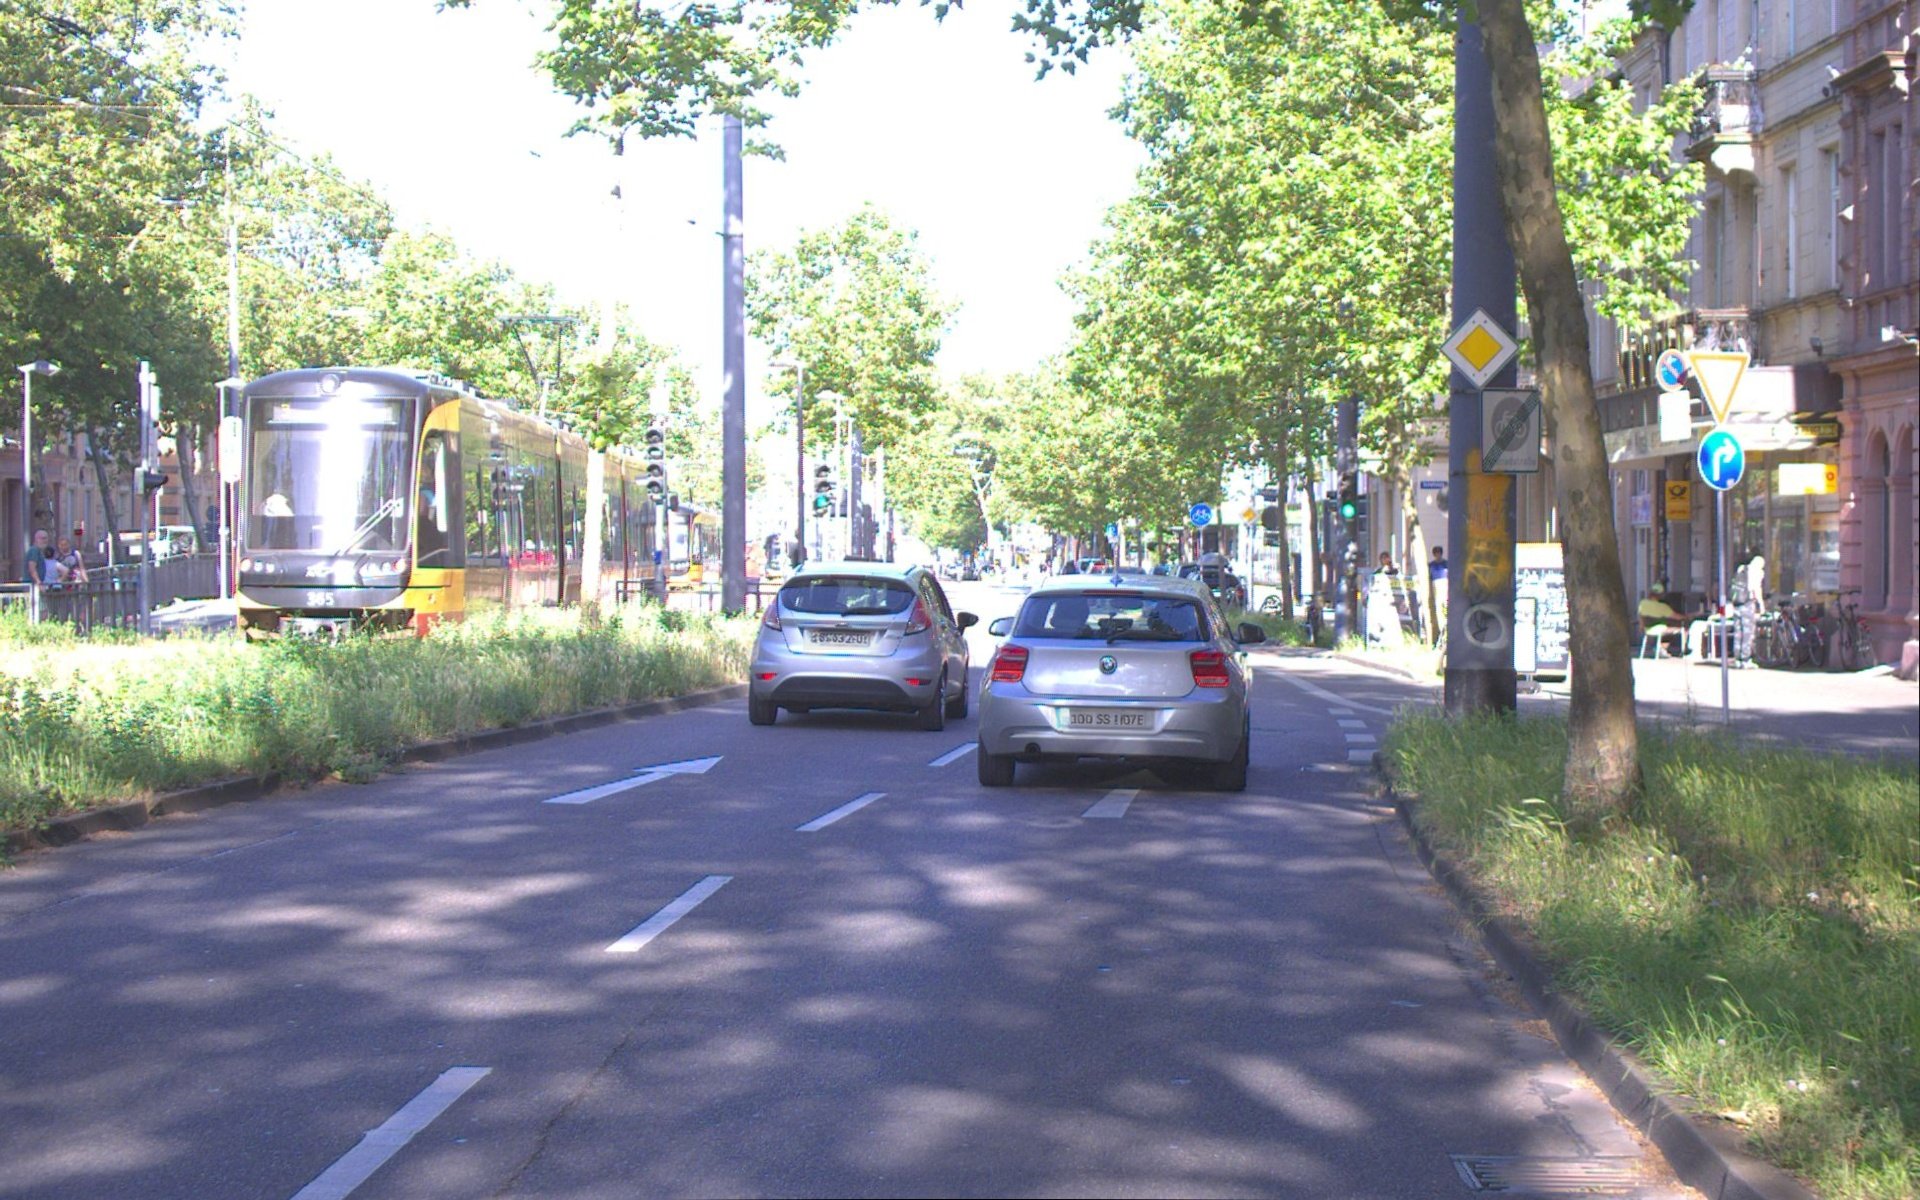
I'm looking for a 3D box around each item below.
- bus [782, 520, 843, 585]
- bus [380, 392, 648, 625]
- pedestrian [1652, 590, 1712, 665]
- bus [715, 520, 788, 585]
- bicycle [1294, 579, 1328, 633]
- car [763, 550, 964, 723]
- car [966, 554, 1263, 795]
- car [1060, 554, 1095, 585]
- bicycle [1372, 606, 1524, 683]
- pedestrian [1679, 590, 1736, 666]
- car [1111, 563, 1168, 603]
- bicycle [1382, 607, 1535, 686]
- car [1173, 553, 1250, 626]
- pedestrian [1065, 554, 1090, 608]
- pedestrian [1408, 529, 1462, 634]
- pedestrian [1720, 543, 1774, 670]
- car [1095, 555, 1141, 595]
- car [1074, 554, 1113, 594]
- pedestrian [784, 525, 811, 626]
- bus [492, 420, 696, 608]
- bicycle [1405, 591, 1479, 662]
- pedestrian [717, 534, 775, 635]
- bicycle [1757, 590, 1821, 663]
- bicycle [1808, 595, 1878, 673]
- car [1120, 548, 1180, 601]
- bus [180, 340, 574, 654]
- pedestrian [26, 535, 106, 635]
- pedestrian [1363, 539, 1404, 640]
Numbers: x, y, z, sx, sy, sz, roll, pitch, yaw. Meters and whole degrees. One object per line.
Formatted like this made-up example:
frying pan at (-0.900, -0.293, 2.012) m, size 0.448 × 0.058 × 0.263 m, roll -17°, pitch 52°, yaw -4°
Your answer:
bus at (-8.565, -2.833, 201.145) m, size 2.750 × 3.613 × 18.848 m, roll 1°, pitch 1°, yaw 0°
bus at (-7.173, -1.440, 57.129) m, size 2.869 × 3.432 × 12.215 m, roll 1°, pitch 1°, yaw 0°
pedestrian at (11.472, 0.437, 54.634) m, size 0.771 × 1.157 × 0.469 m, roll 2°, pitch 1°, yaw -25°
bus at (-12.220, -2.904, 203.831) m, size 2.869 × 3.616 × 24.604 m, roll 1°, pitch 1°, yaw 0°
bicycle at (6.668, 0.106, 65.347) m, size 0.428 × 0.967 × 1.750 m, roll 2°, pitch 1°, yaw 0°
car at (-0.812, 0.280, 30.835) m, size 1.646 × 1.358 × 3.760 m, roll 2°, pitch 1°, yaw 0°
car at (0.988, 0.450, 23.937) m, size 1.762 × 1.427 × 4.000 m, roll 2°, pitch 1°, yaw -1°
car at (6.371, -1.652, 186.477) m, size 1.700 × 1.529 × 3.717 m, roll 2°, pitch 1°, yaw 0°
bicycle at (6.808, 0.620, 47.962) m, size 2.014 × 0.990 × 0.444 m, roll 2°, pitch 1°, yaw -2°
pedestrian at (11.758, 0.438, 54.070) m, size 0.645 × 1.157 × 0.611 m, roll 2°, pitch 1°, yaw -11°
car at (7.261, -0.689, 139.096) m, size 1.993 × 1.504 × 4.597 m, roll 2°, pitch 0°, yaw 0°
bicycle at (6.869, 0.639, 47.394) m, size 2.003 × 0.990 × 0.444 m, roll 2°, pitch 1°, yaw -2°
car at (7.108, -0.334, 97.521) m, size 1.754 × 1.958 × 4.738 m, roll 1°, pitch 1°, yaw -1°
pedestrian at (4.495, -0.731, 131.440) m, size 0.838 × 2.007 × 0.648 m, roll 2°, pitch 1°, yaw 7°
pedestrian at (9.236, -0.365, 66.875) m, size 0.882 × 2.007 × 0.856 m, roll 2°, pitch 1°, yaw 3°
pedestrian at (11.352, 0.087, 49.590) m, size 0.469 × 1.804 × 0.773 m, roll 3°, pitch 1°, yaw 31°
car at (6.618, -1.042, 144.352) m, size 1.669 × 1.546 × 4.000 m, roll 2°, pitch 1°, yaw 0°
car at (6.601, -1.302, 170.078) m, size 1.724 × 1.874 × 4.000 m, roll 2°, pitch 1°, yaw 0°
pedestrian at (-3.066, -0.468, 64.866) m, size 0.450 × 1.896 × 0.585 m, roll 0°, pitch 1°, yaw -7°
bus at (-7.186, -1.663, 69.176) m, size 2.869 × 3.432 × 11.611 m, roll 1°, pitch 1°, yaw 0°
bicycle at (7.196, 0.385, 51.358) m, size 0.442 × 0.990 × 1.689 m, roll 2°, pitch 1°, yaw -15°
pedestrian at (-4.094, -0.299, 65.928) m, size 1.072 × 1.909 × 1.127 m, roll 0°, pitch 1°, yaw -2°
bicycle at (12.007, 0.370, 49.812) m, size 0.443 × 0.990 × 1.689 m, roll 2°, pitch 1°, yaw -1°
bicycle at (12.056, 0.456, 46.970) m, size 0.443 × 0.990 × 1.689 m, roll 2°, pitch 1°, yaw -1°
car at (6.228, -0.852, 112.889) m, size 1.692 × 1.652 × 4.040 m, roll 0°, pitch 2°, yaw -1°
bus at (-7.163, -1.227, 44.488) m, size 2.869 × 3.432 × 13.217 m, roll 1°, pitch 1°, yaw 0°
pedestrian at (-14.821, -0.252, 56.998) m, size 1.176 × 1.638 × 0.893 m, roll 0°, pitch 0°, yaw -7°
pedestrian at (7.628, -0.196, 61.971) m, size 0.642 × 1.765 × 0.868 m, roll 2°, pitch 1°, yaw 6°
